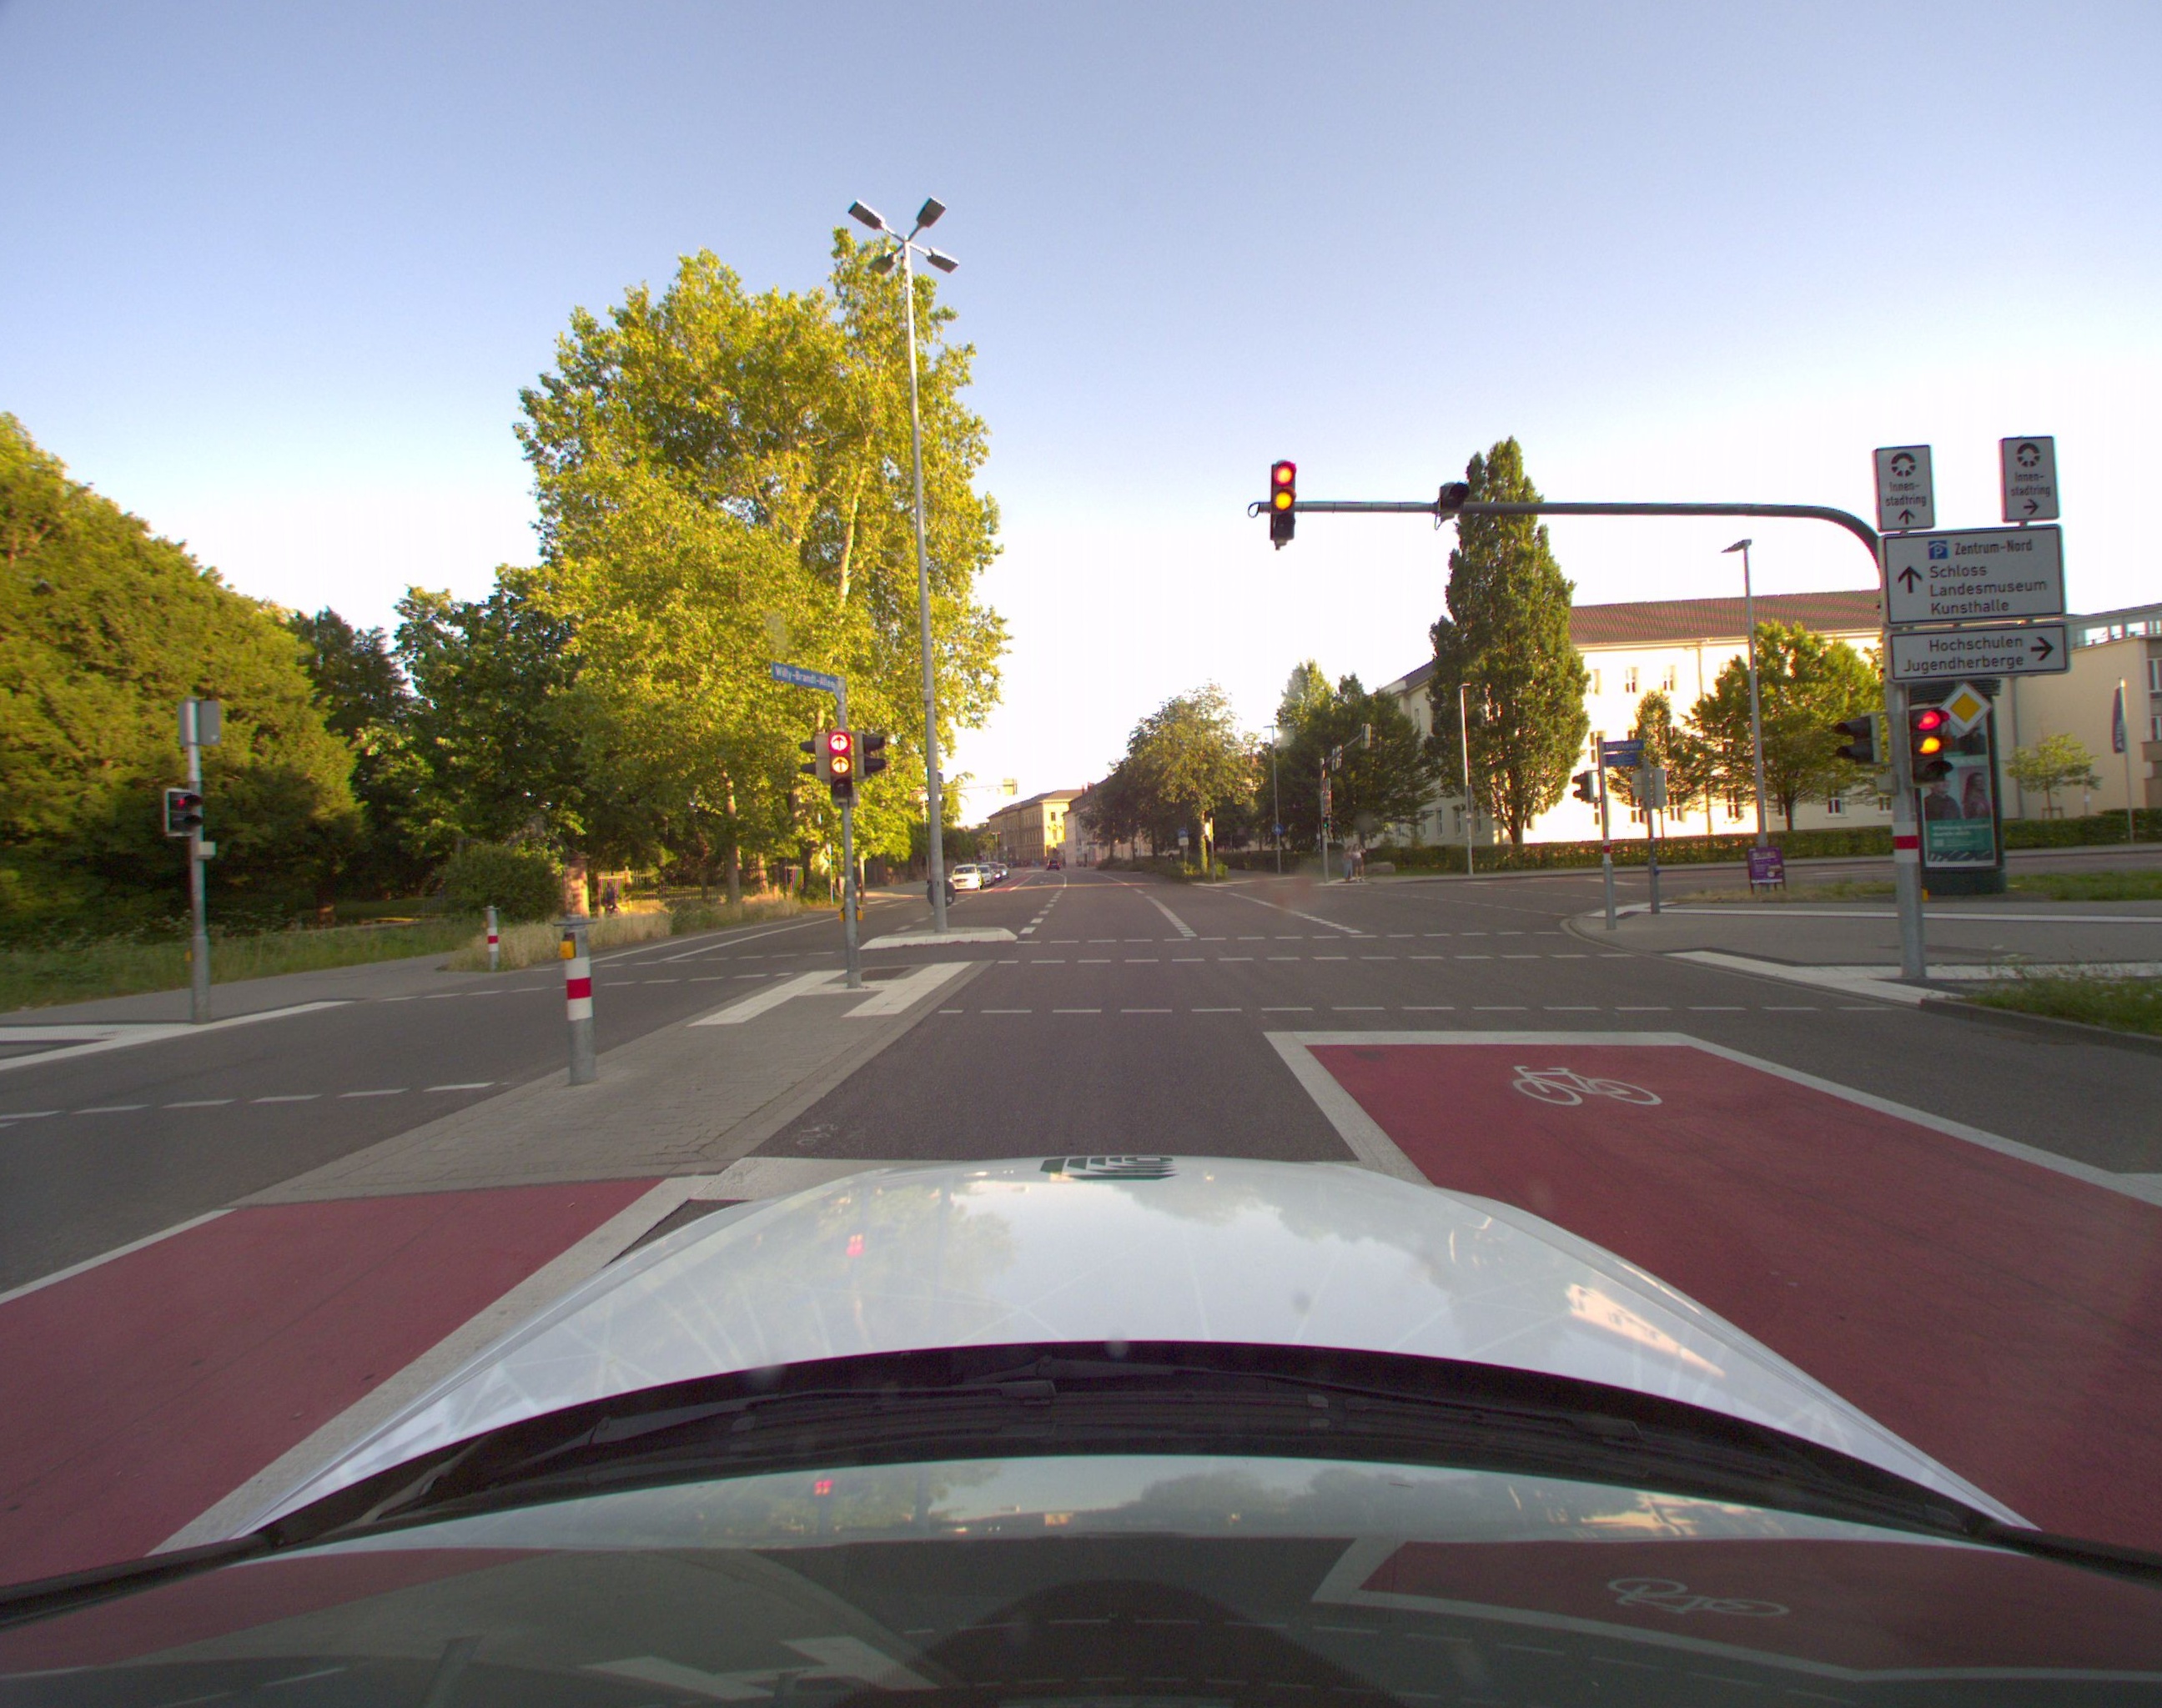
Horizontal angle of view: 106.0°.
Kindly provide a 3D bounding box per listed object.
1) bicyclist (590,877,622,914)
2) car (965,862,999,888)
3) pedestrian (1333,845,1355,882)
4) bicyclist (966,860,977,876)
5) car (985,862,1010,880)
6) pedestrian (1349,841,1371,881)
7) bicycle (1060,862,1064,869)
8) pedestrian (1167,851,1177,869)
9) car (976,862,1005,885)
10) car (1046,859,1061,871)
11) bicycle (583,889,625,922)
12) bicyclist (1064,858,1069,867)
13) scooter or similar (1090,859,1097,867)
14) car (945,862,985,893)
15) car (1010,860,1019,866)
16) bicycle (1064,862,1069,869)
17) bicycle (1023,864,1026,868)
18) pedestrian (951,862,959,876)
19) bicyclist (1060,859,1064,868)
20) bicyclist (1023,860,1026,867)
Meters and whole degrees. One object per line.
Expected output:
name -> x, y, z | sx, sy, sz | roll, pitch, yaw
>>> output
bicyclist -> -19.170, 1.662, 32.856 | 0.880, 1.427, 0.797 | -3, -1, 40
car -> -6.953, 1.450, 57.776 | 1.912, 1.583, 4.670 | -5, 0, -2
pedestrian -> 11.879, 0.419, 36.765 | 0.678, 1.622, 0.845 | -3, 0, 1
bicyclist -> -10.630, 1.356, 79.114 | 0.852, 1.431, 0.944 | -3, 0, 2
car -> -7.836, 1.562, 76.709 | 1.912, 1.417, 4.766 | -5, 0, -2
pedestrian -> 12.592, 0.327, 36.723 | 0.678, 1.754, 0.689 | -3, 0, 1
bicycle -> -3.161, 1.902, 135.212 | 0.650, 1.015, 2.195 | 0, -1, -3
pedestrian -> 9.295, 0.626, 83.239 | 0.769, 1.739, 0.805 | -3, 0, -8
car -> -7.396, 1.539, 66.692 | 1.912, 1.624, 4.635 | -5, 0, -2
car -> -3.878, 1.516, 114.206 | 1.862, 1.510, 3.999 | -2, -1, 0
bicycle -> -19.329, 2.062, 32.976 | 1.954, 1.256, 0.797 | -3, -1, 40
bicyclist -> -2.409, 1.483, 135.927 | 0.651, 1.475, 0.939 | 0, -1, -5
scooter or similar -> 2.266, 1.643, 145.507 | 0.630, 1.337, 2.390 | -2, -1, -12
car -> -7.165, 1.405, 50.640 | 1.912, 1.695, 4.422 | -5, 0, -2
car -> -16.047, 2.213, 196.665 | 1.915, 1.417, 4.756 | -5, 0, -8
bicycle -> -2.397, 1.912, 135.919 | 0.651, 1.015, 2.194 | 0, -1, -5
bicycle -> -13.585, 2.937, 196.605 | 0.651, 1.015, 2.192 | 0, -1, -8
pedestrian -> -14.576, 1.714, 94.373 | 0.678, 1.622, 0.689 | -3, 0, 1
bicyclist -> -3.167, 1.528, 135.378 | 0.650, 1.446, 0.878 | 0, -1, -4
bicyclist -> -13.580, 2.243, 196.541 | 0.651, 1.698, 0.954 | 0, -1, -8
